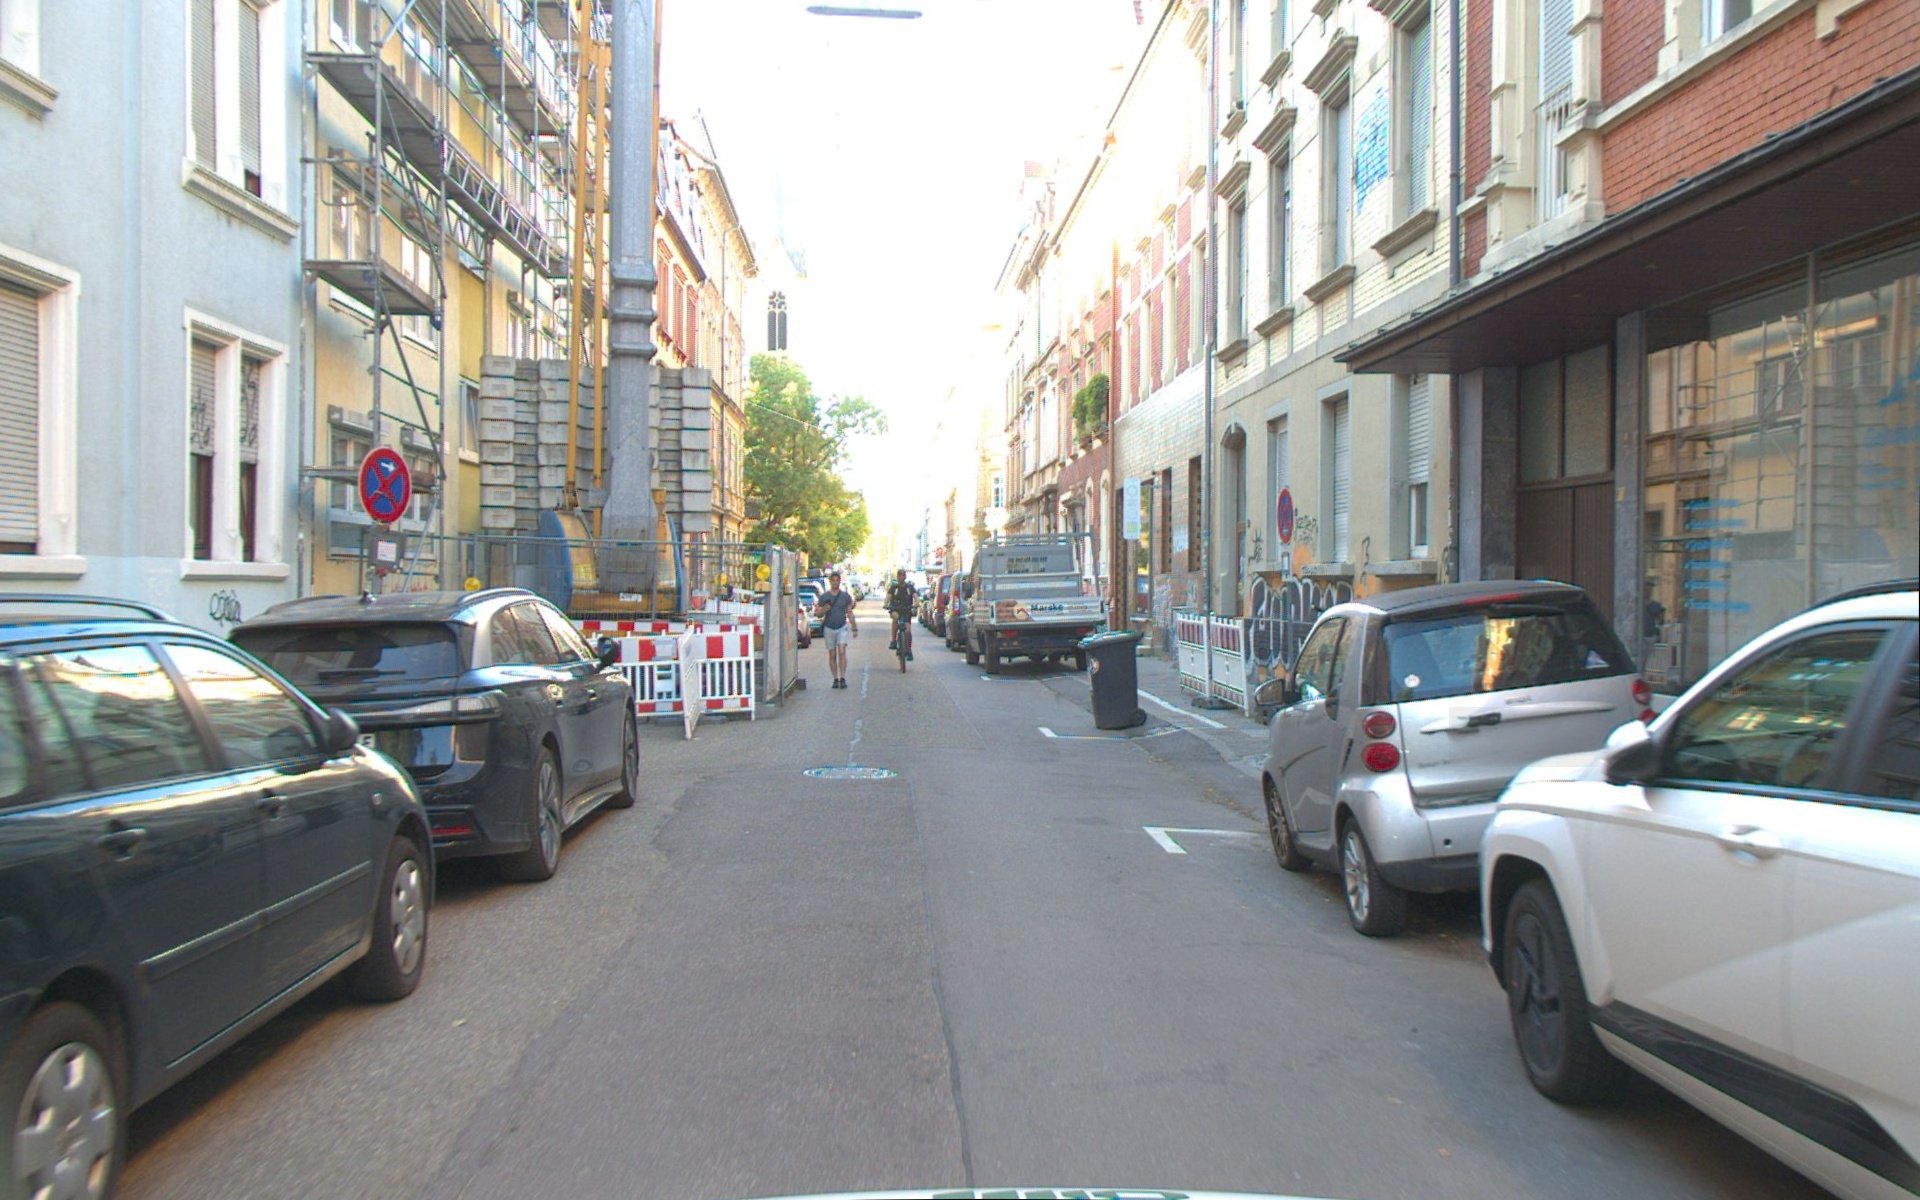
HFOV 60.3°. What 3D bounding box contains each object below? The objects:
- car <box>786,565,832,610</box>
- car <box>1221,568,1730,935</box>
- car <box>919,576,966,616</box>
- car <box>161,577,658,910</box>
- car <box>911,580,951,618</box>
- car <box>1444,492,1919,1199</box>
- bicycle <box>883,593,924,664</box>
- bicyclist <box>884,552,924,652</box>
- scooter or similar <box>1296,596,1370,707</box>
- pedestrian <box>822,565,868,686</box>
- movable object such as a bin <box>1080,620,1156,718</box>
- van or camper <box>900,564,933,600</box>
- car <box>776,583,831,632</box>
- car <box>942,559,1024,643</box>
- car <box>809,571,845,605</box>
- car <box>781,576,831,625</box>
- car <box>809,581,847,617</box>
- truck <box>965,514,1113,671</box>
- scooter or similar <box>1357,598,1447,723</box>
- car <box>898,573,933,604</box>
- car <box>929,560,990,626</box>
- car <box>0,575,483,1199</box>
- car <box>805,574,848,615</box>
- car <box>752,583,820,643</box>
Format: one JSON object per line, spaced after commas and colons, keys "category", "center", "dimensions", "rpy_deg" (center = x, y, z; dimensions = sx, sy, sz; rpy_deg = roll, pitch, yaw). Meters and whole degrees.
{"category": "car", "center": [-5.643, -0.473, 61.954], "dimensions": [1.642, 1.598, 3.865], "rpy_deg": [-1, 0, -5]}
{"category": "car", "center": [2.575, 0.643, 9.187], "dimensions": [1.564, 1.587, 3.813], "rpy_deg": [-1, 1, -1]}
{"category": "car", "center": [-0.741, -0.174, 67.567], "dimensions": [1.642, 1.598, 3.865], "rpy_deg": [-1, 0, -5]}
{"category": "car", "center": [-2.951, 0.642, 9.931], "dimensions": [1.641, 1.503, 4.605], "rpy_deg": [-1, 0, -3]}
{"category": "car", "center": [-1.632, -0.083, 91.980], "dimensions": [1.954, 2.049, 3.997], "rpy_deg": [-1, 1, -4]}
{"category": "car", "center": [2.690, 0.628, 3.878], "dimensions": [1.711, 1.705, 4.339], "rpy_deg": [-1, 0, -2]}
{"category": "bicycle", "center": [-1.035, 0.497, 30.136], "dimensions": [0.710, 1.207, 2.041], "rpy_deg": [1, 1, -3]}
{"category": "bicyclist", "center": [-1.022, 0.022, 30.155], "dimensions": [0.715, 1.792, 0.835], "rpy_deg": [0, 1, -3]}
{"category": "scooter or similar", "center": [4.297, 0.572, 19.130], "dimensions": [0.409, 1.199, 1.494], "rpy_deg": [-2, 1, -3]}
{"category": "pedestrian", "center": [-1.701, 0.365, 24.623], "dimensions": [0.644, 1.763, 0.719], "rpy_deg": [-1, 0, -3]}
{"category": "movable object such as a bin", "center": [1.797, 0.778, 18.904], "dimensions": [0.779, 1.074, 0.660], "rpy_deg": [0, 0, -3]}
{"category": "van or camper", "center": [-3.181, -1.294, 120.551], "dimensions": [1.956, 2.552, 4.196], "rpy_deg": [-1, 1, -7]}
{"category": "car", "center": [-4.883, 0.210, 51.815], "dimensions": [1.642, 1.470, 3.865], "rpy_deg": [-1, 0, -5]}
{"category": "car", "center": [0.532, 0.006, 41.631], "dimensions": [1.642, 1.997, 4.105], "rpy_deg": [-1, 0, -5]}
{"category": "car", "center": [-7.649, -0.690, 95.309], "dimensions": [1.954, 1.881, 3.997], "rpy_deg": [-1, 1, -4]}
{"category": "car", "center": [-5.263, 0.001, 56.688], "dimensions": [1.642, 1.598, 3.865], "rpy_deg": [-1, 0, -5]}
{"category": "car", "center": [-7.165, -0.078, 90.081], "dimensions": [1.954, 1.881, 3.997], "rpy_deg": [-1, 1, -4]}
{"category": "truck", "center": [1.382, -0.157, 31.164], "dimensions": [2.147, 2.652, 5.230], "rpy_deg": [-1, 1, -4]}
{"category": "scooter or similar", "center": [4.506, 0.591, 16.940], "dimensions": [0.409, 1.199, 1.494], "rpy_deg": [-2, 1, -3]}
{"category": "car", "center": [-2.845, -0.717, 104.960], "dimensions": [1.954, 1.881, 3.997], "rpy_deg": [-1, 1, -4]}
{"category": "car", "center": [-0.062, -0.237, 54.105], "dimensions": [1.642, 2.066, 3.865], "rpy_deg": [-1, 0, -5]}
{"category": "car", "center": [-2.765, 0.717, 4.846], "dimensions": [1.641, 1.538, 4.412], "rpy_deg": [-1, 1, -3]}
{"category": "car", "center": [-5.432, -0.240, 67.164], "dimensions": [1.642, 1.598, 3.865], "rpy_deg": [-1, 0, -5]}
{"category": "car", "center": [-4.485, 0.316, 43.012], "dimensions": [1.642, 1.470, 3.865], "rpy_deg": [-1, 0, -5]}
